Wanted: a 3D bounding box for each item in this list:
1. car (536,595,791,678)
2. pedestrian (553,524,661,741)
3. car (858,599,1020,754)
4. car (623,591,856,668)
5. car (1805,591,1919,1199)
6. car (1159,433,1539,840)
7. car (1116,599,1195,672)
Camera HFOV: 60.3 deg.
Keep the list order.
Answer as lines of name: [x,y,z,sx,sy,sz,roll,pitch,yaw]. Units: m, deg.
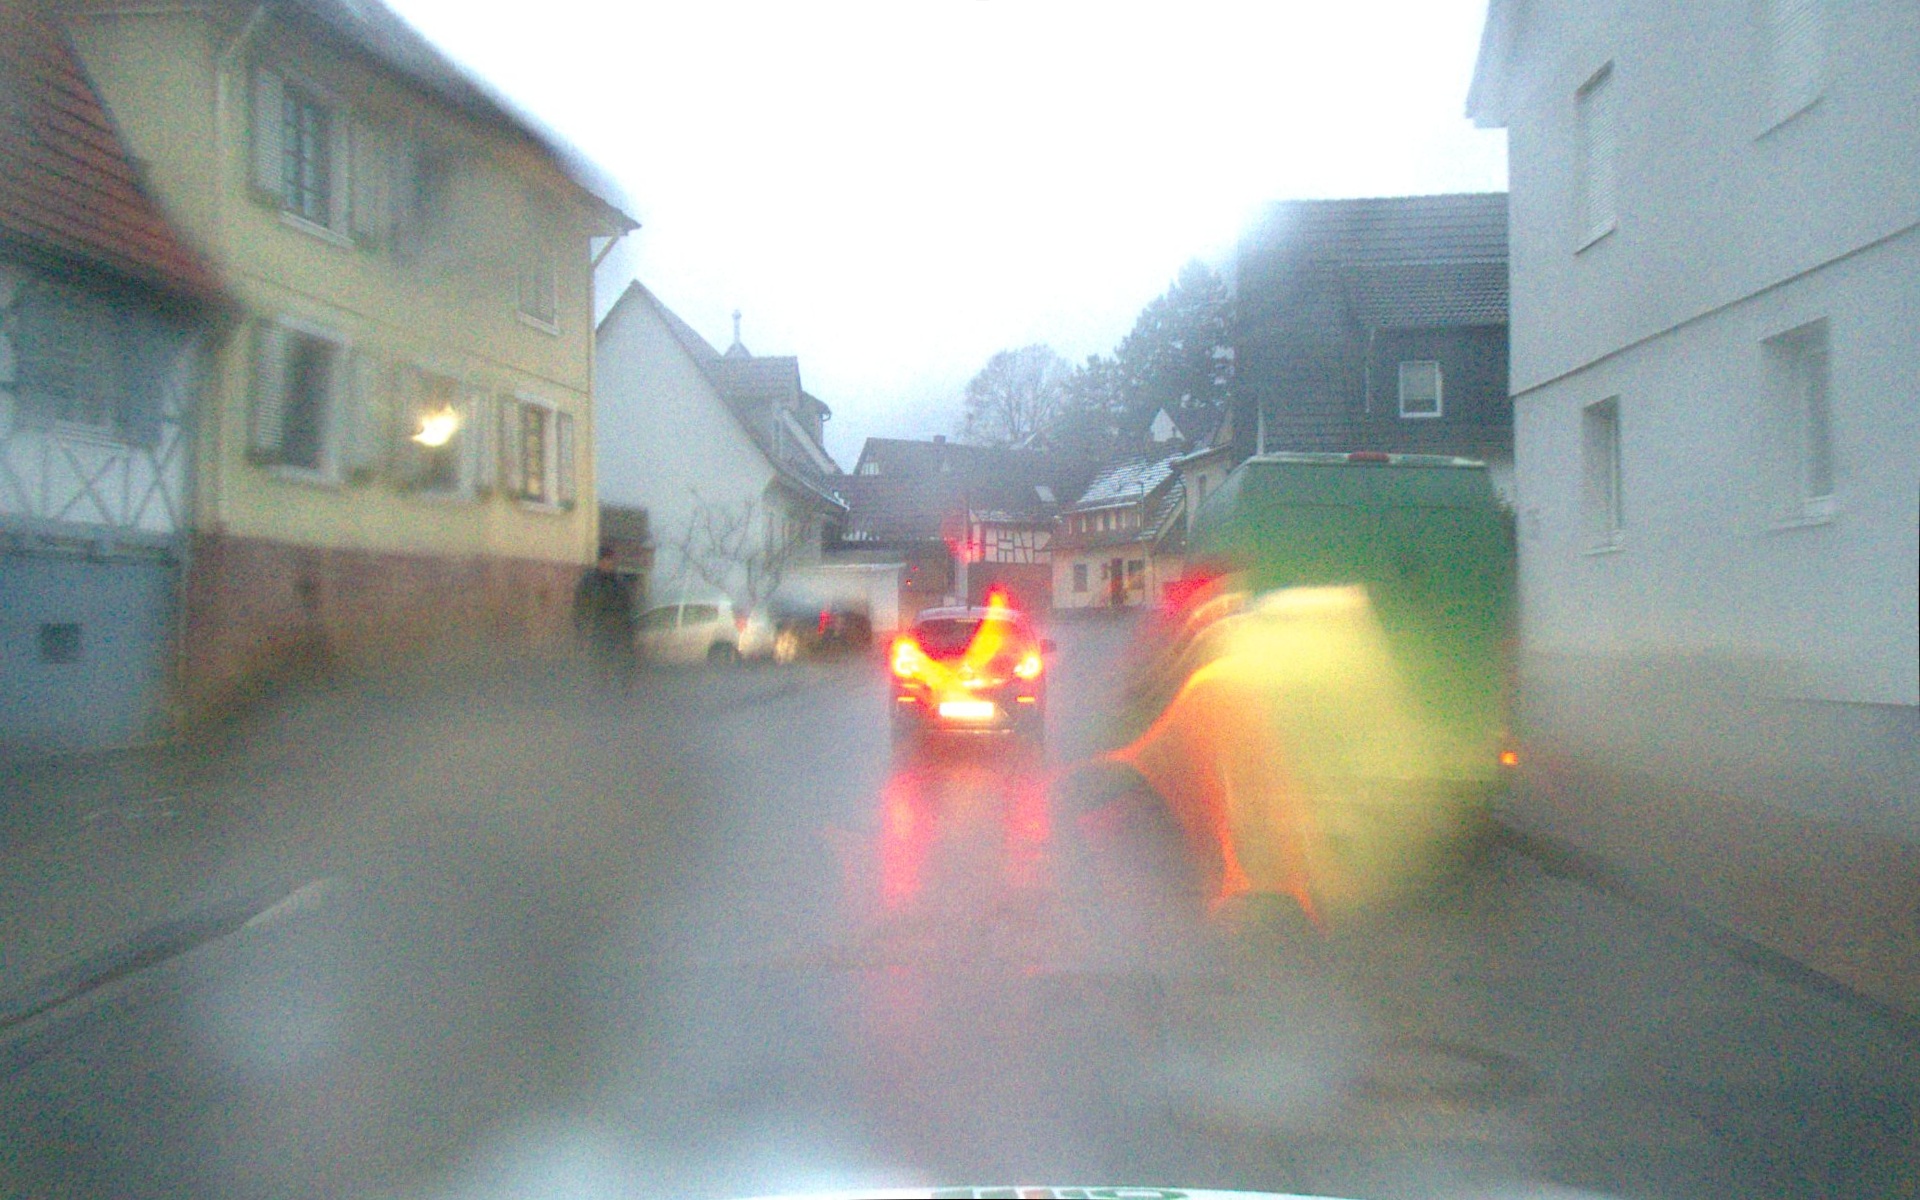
car: [-5.738,0.708,32.234,4.504,1.496,1.893,-1,0,10]
pedestrian: [-3.434,0.313,16.169,0.767,2.049,0.870,1,-1,5]
car: [-0.136,0.741,17.953,1.513,1.491,3.700,0,0,3]
car: [-4.615,0.610,34.956,4.496,1.496,2.001,-1,0,6]
car: [2.511,0.742,1.151,1.610,1.503,4.371,0,0,0]
car: [2.748,0.218,13.064,1.967,2.497,5.617,1,0,3]
car: [4.313,0.745,36.444,1.603,1.497,4.003,1,0,7]
